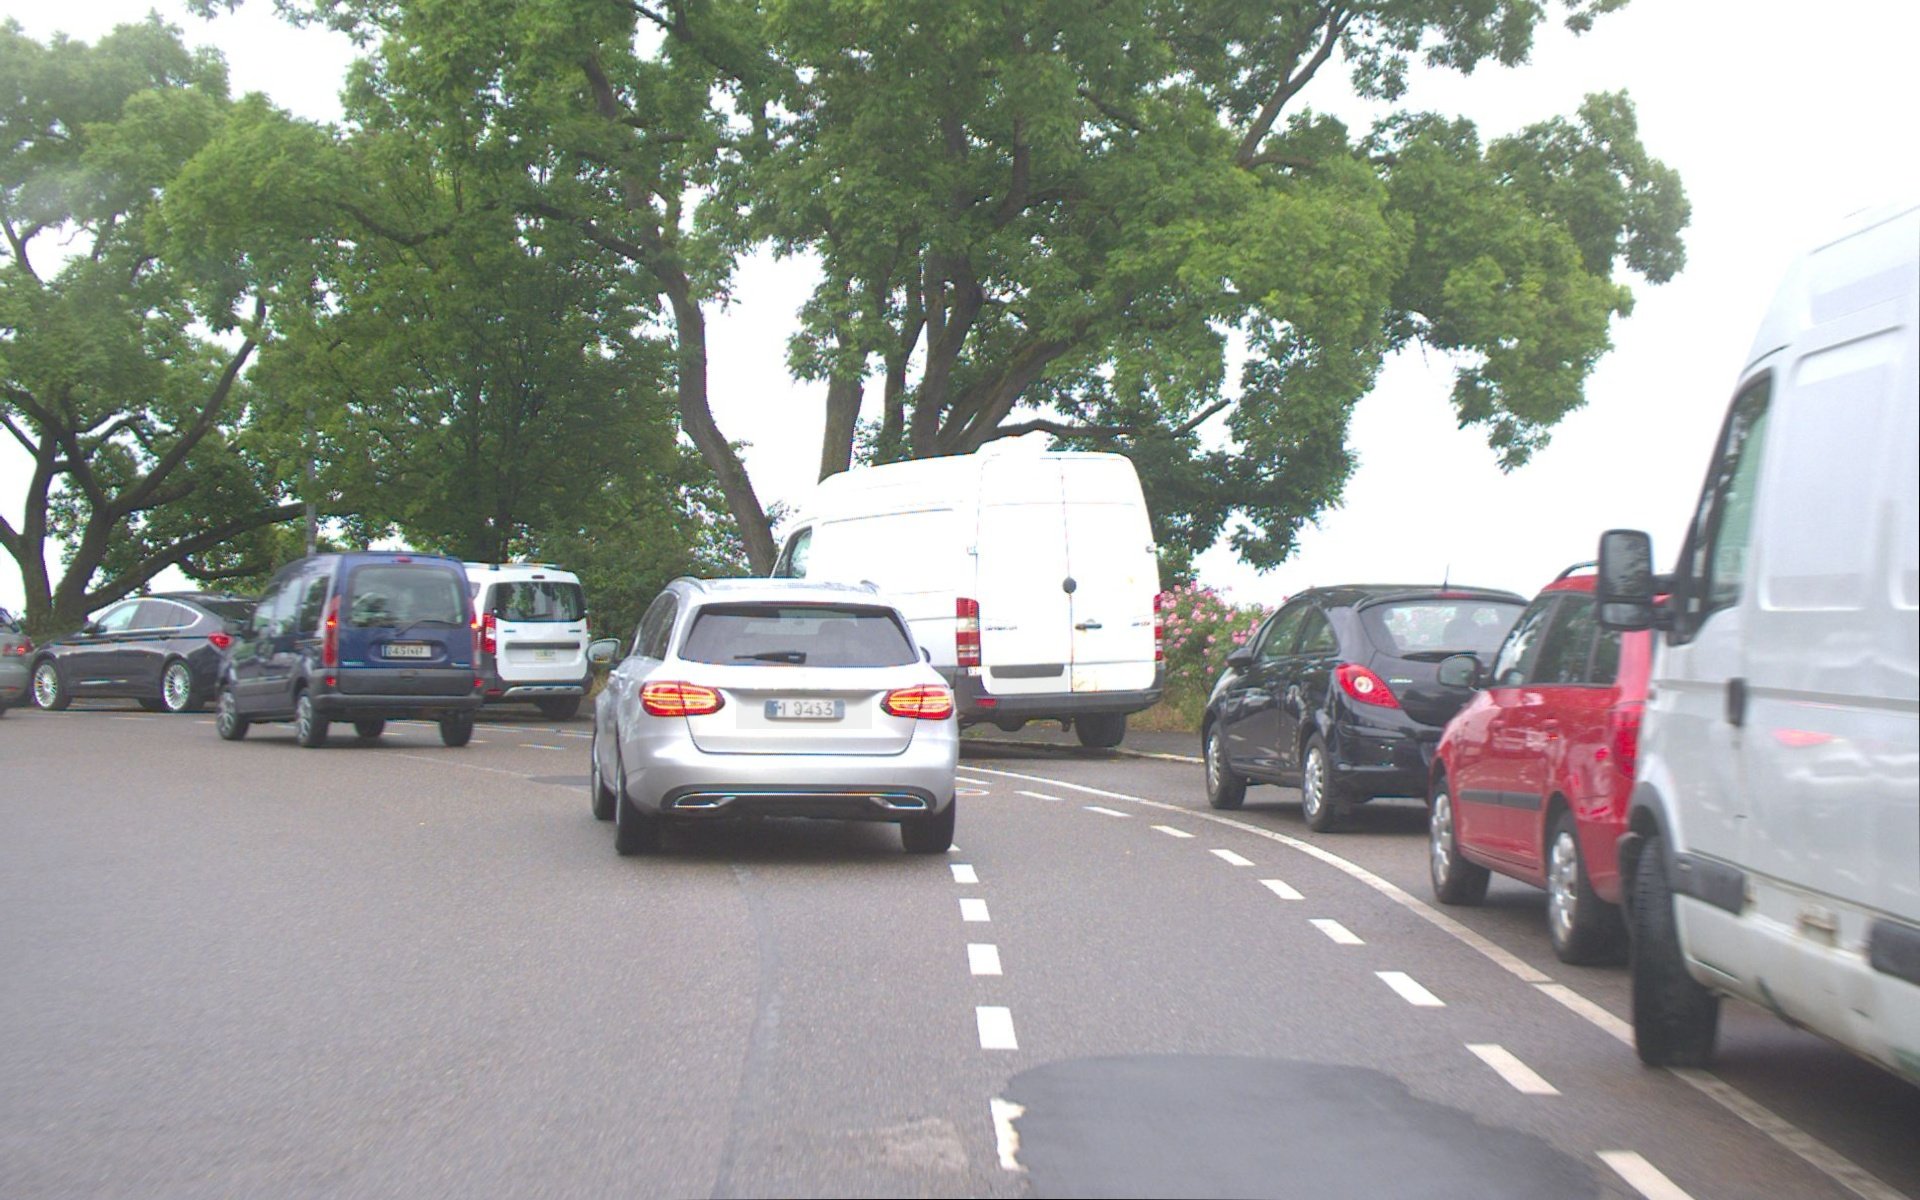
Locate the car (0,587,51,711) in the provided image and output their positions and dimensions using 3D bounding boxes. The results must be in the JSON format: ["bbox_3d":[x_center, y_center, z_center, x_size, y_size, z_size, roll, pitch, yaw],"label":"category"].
[{"bbox_3d":[-13.020,0.599,41.852,4.092,1.453,1.855,0,1,43],"label":"car"}]

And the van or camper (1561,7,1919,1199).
[{"bbox_3d":[3.024,0.075,8.414,2.074,2.652,5.596,0,1,0],"label":"van or camper"}]

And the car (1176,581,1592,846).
[{"bbox_3d":[2.538,0.630,21.484,1.695,1.439,3.948,-1,1,-6],"label":"car"}]

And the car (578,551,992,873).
[{"bbox_3d":[-1.099,0.523,19.208,1.982,1.548,4.299,-1,1,-7],"label":"car"}]

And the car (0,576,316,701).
[{"bbox_3d":[-10.696,0.483,45.225,4.891,1.537,1.861,0,1,44],"label":"car"}]

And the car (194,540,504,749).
[{"bbox_3d":[-5.997,0.383,33.406,1.824,1.876,4.096,-1,1,-27],"label":"car"}]

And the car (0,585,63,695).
[{"bbox_3d":[-14.757,0.569,48.669,4.130,1.498,1.736,0,1,36],"label":"car"}]

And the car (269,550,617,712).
[{"bbox_3d":[-6.215,0.348,41.014,4.420,1.815,1.748,0,1,44],"label":"car"}]

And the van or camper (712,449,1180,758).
[{"bbox_3d":[-0.285,-0.008,31.763,2.066,2.572,5.889,-1,1,-24],"label":"van or camper"}]

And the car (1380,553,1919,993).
[{"bbox_3d":[2.928,0.585,14.336,1.620,1.534,4.216,-1,1,-3],"label":"car"}]
